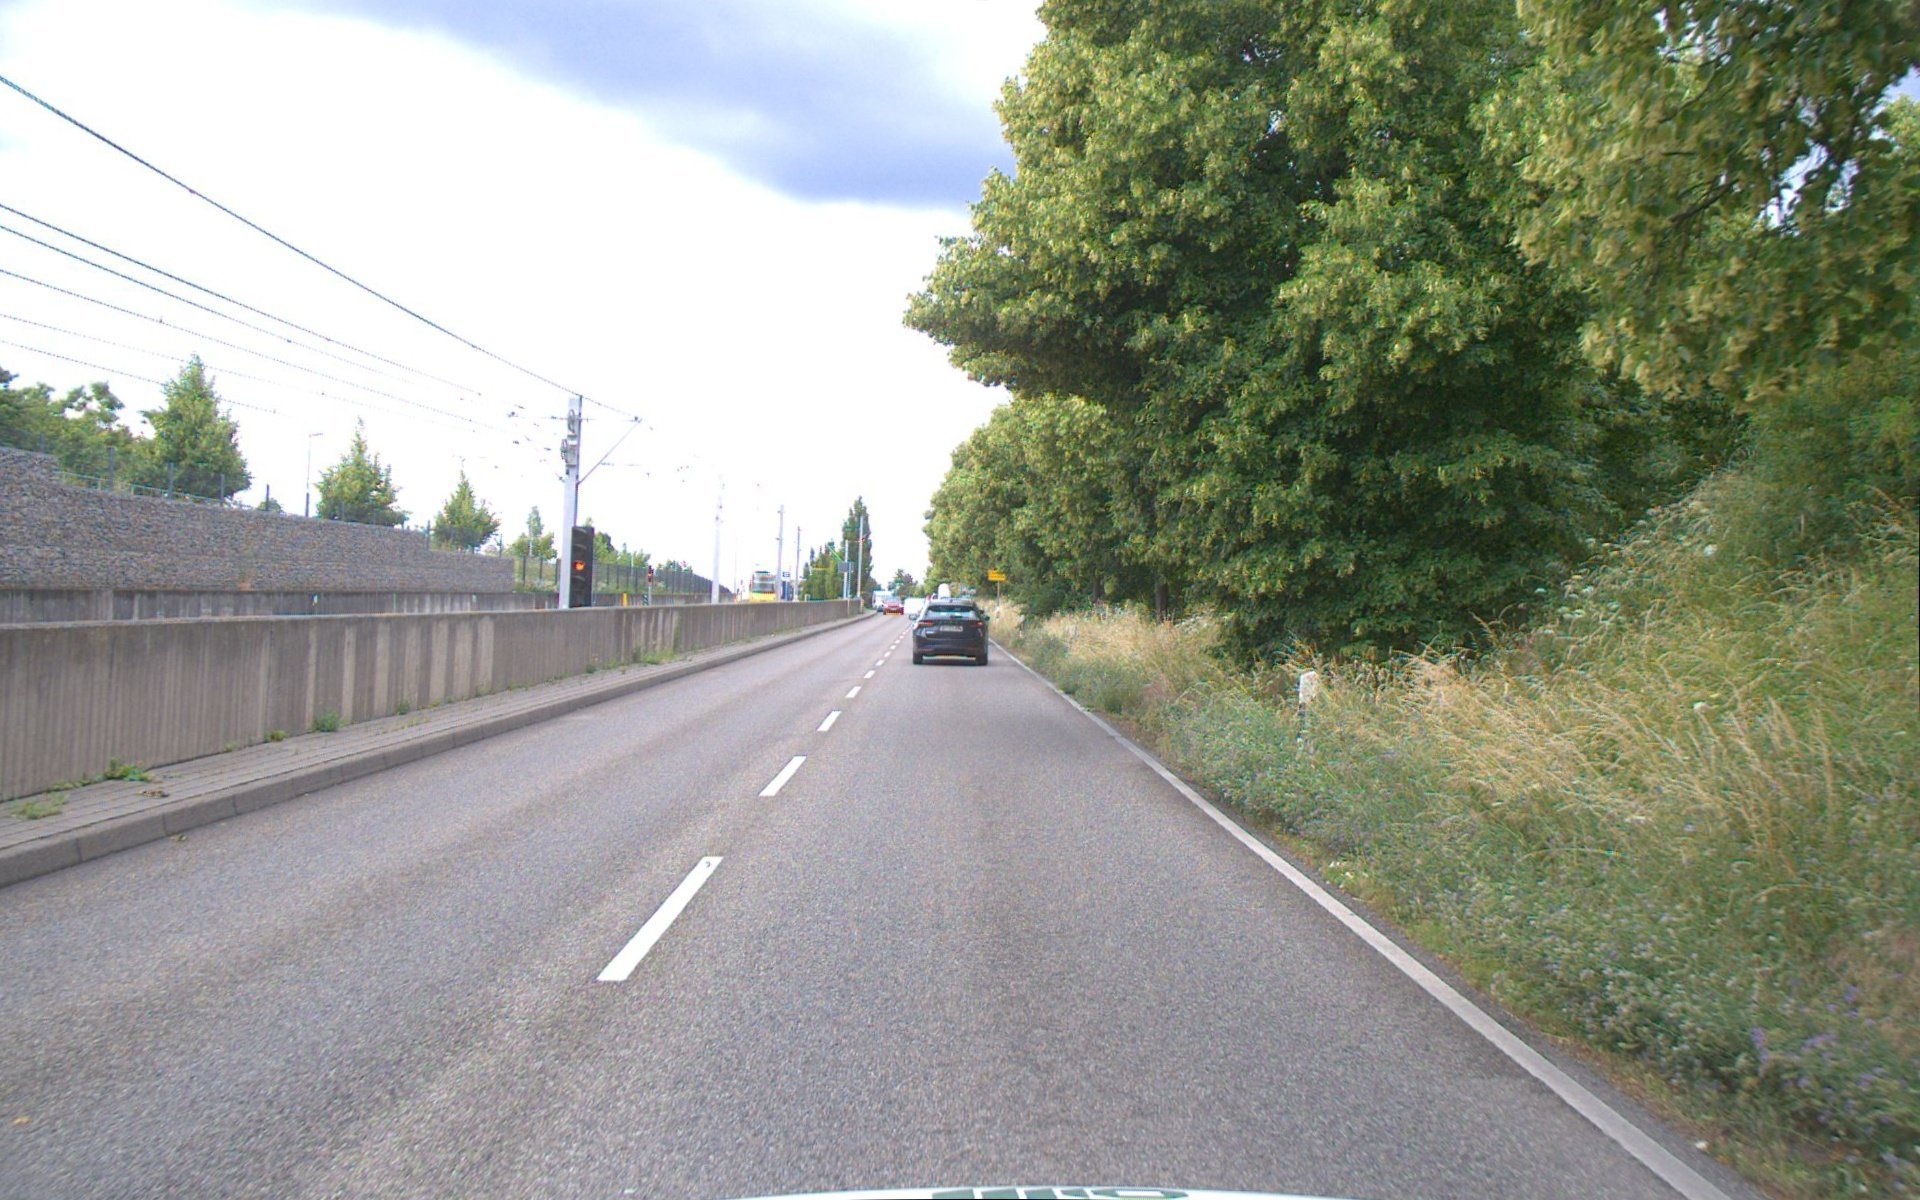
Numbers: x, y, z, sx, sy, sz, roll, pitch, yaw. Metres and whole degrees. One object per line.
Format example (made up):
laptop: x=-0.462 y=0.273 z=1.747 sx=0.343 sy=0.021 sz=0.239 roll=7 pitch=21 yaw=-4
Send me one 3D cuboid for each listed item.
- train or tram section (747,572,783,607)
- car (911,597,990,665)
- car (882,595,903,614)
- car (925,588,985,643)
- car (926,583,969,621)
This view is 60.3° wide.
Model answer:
train or tram section: x=-19.792 y=-0.998 z=167.038 sx=2.759 sy=3.172 sz=18.874 roll=1 pitch=-1 yaw=-9
car: x=-0.242 y=0.689 z=38.742 sx=1.745 sy=1.493 sz=3.999 roll=1 pitch=0 yaw=-1
car: x=-5.632 y=0.352 z=138.317 sx=1.629 sy=1.572 sz=3.951 roll=0 pitch=0 yaw=-1
car: x=-0.197 y=0.501 z=55.992 sx=1.953 sy=1.783 sz=3.999 roll=1 pitch=0 yaw=-1
car: x=-0.607 y=0.119 z=78.028 sx=1.953 sy=1.771 sz=3.999 roll=0 pitch=-1 yaw=-1
